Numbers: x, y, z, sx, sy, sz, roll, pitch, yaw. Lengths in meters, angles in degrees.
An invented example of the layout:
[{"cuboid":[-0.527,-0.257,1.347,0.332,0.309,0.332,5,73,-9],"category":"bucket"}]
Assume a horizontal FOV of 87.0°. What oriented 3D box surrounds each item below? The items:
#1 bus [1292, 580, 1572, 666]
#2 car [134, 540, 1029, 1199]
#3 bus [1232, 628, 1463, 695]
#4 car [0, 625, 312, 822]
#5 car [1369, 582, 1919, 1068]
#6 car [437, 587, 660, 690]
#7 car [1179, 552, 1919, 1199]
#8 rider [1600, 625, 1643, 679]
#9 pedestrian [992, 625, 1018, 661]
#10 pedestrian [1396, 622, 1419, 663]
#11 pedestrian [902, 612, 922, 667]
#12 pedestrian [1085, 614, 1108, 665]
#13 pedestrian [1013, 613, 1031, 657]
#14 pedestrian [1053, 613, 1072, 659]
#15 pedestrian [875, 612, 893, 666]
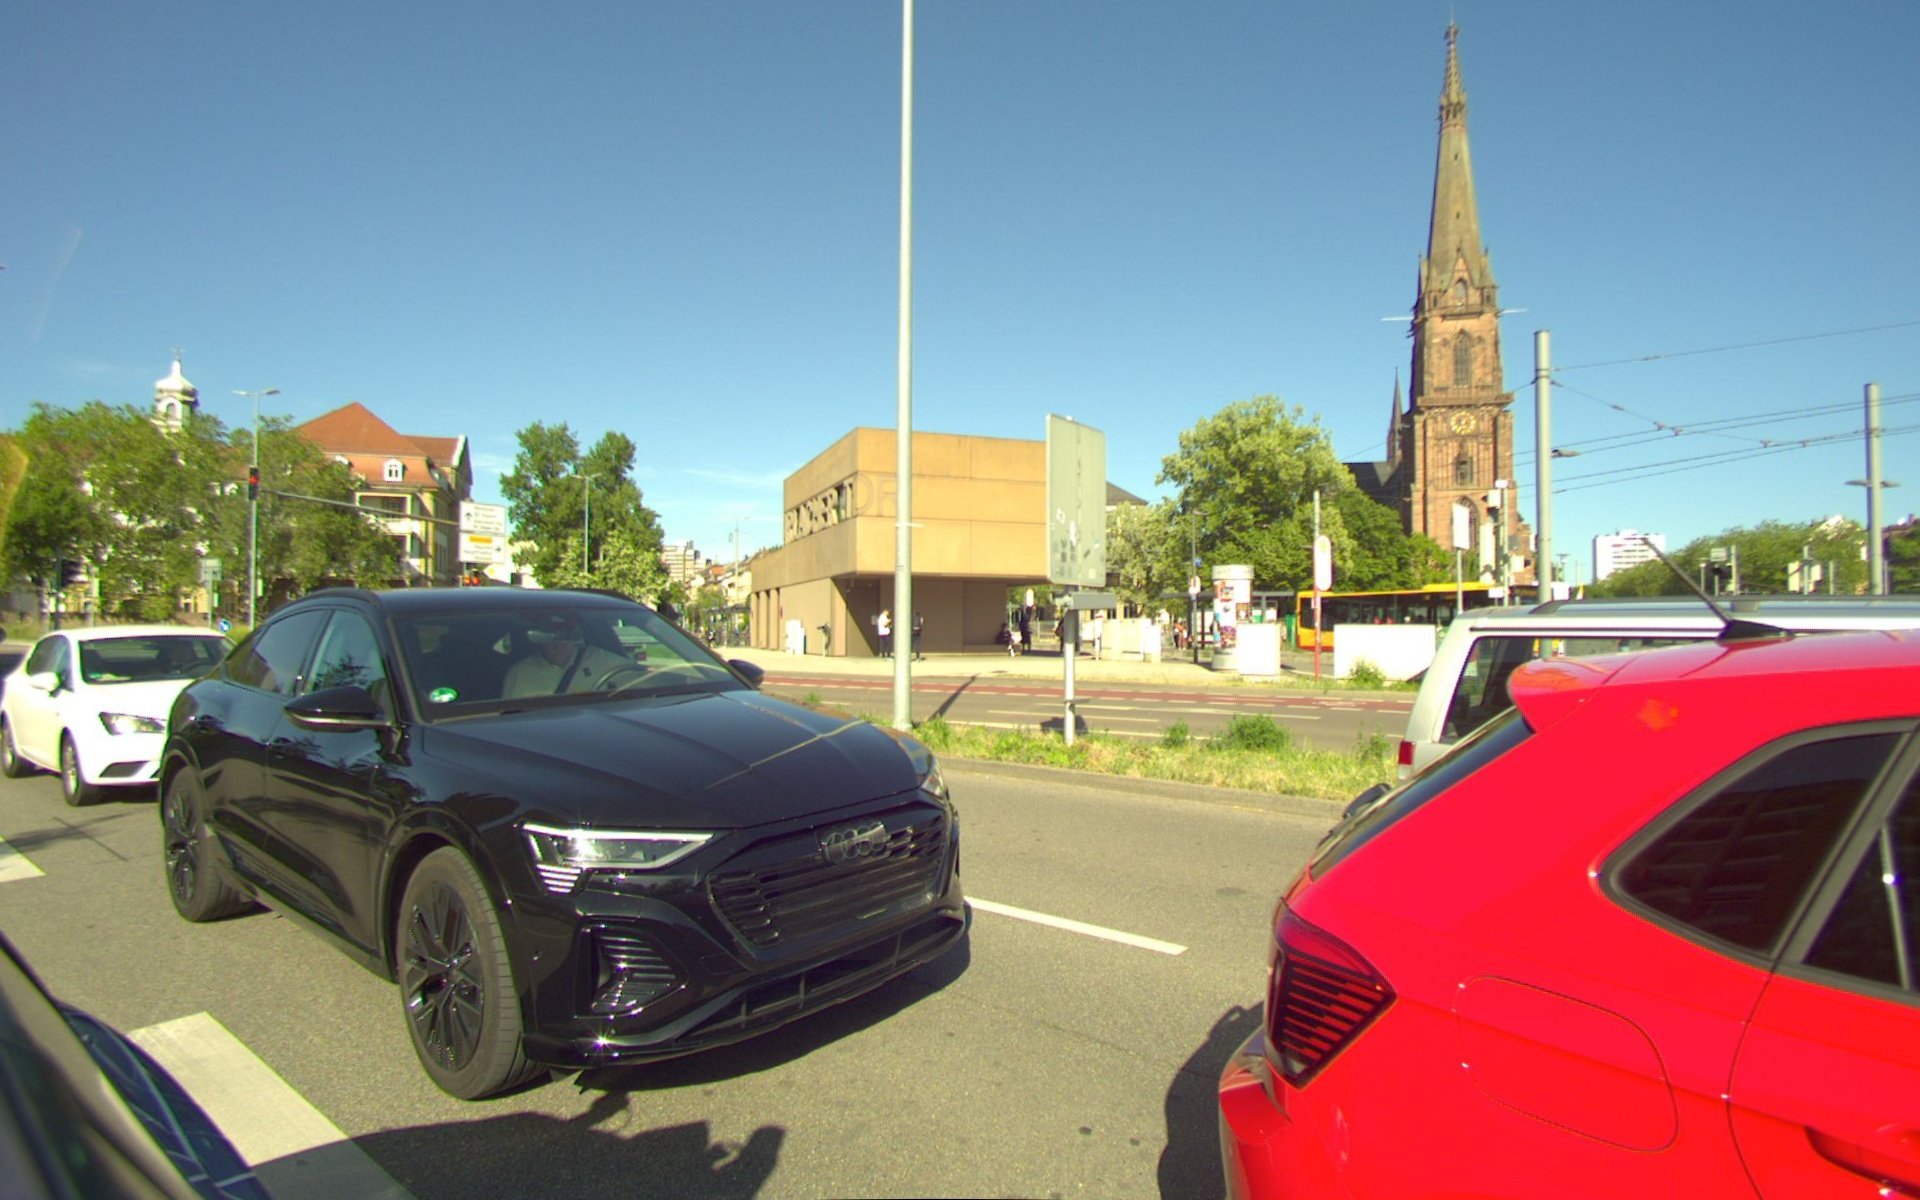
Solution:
[{"cuboid":[19.063,0.999,42.449,2.715,3.088,12.200,1,-2,-20],"category":"bus"},{"cuboid":[-2.022,0.728,4.556,4.450,1.628,1.835,-1,-2,40],"category":"car"},{"cuboid":[7.958,1.208,20.970,4.177,1.251,1.626,-1,-2,38],"category":"bus"},{"cuboid":[-7.544,0.967,9.278,3.707,1.429,1.556,-1,-1,38],"category":"car"},{"cuboid":[4.039,0.678,3.267,4.748,1.484,1.691,-1,-1,40],"category":"car"},{"cuboid":[-10.467,0.929,25.515,6.196,2.331,2.093,-1,-1,33],"category":"car"},{"cuboid":[2.303,0.671,0.809,3.853,1.484,1.651,-2,-1,43],"category":"car"},{"cuboid":[18.665,1.457,28.550,0.660,1.475,0.862,1,-2,-43],"category":"rider"},{"cuboid":[1.694,1.615,38.180,0.635,1.320,0.764,1,-2,-38],"category":"pedestrian"},{"cuboid":[17.228,1.631,38.954,0.561,1.525,0.530,-1,0,-21],"category":"pedestrian"},{"cuboid":[-1.592,1.291,33.347,0.636,1.789,0.618,0,-2,-5],"category":"pedestrian"},{"cuboid":[4.849,1.384,35.934,0.634,1.789,0.470,1,-2,-27],"category":"pedestrian"},{"cuboid":[2.548,1.438,41.463,0.468,1.789,0.637,-2,-2,38],"category":"pedestrian"},{"cuboid":[4.045,1.431,40.067,0.468,1.789,0.637,-2,-2,38],"category":"pedestrian"},{"cuboid":[-2.548,1.310,33.858,0.460,1.789,0.648,0,-2,-19],"category":"pedestrian"}]
